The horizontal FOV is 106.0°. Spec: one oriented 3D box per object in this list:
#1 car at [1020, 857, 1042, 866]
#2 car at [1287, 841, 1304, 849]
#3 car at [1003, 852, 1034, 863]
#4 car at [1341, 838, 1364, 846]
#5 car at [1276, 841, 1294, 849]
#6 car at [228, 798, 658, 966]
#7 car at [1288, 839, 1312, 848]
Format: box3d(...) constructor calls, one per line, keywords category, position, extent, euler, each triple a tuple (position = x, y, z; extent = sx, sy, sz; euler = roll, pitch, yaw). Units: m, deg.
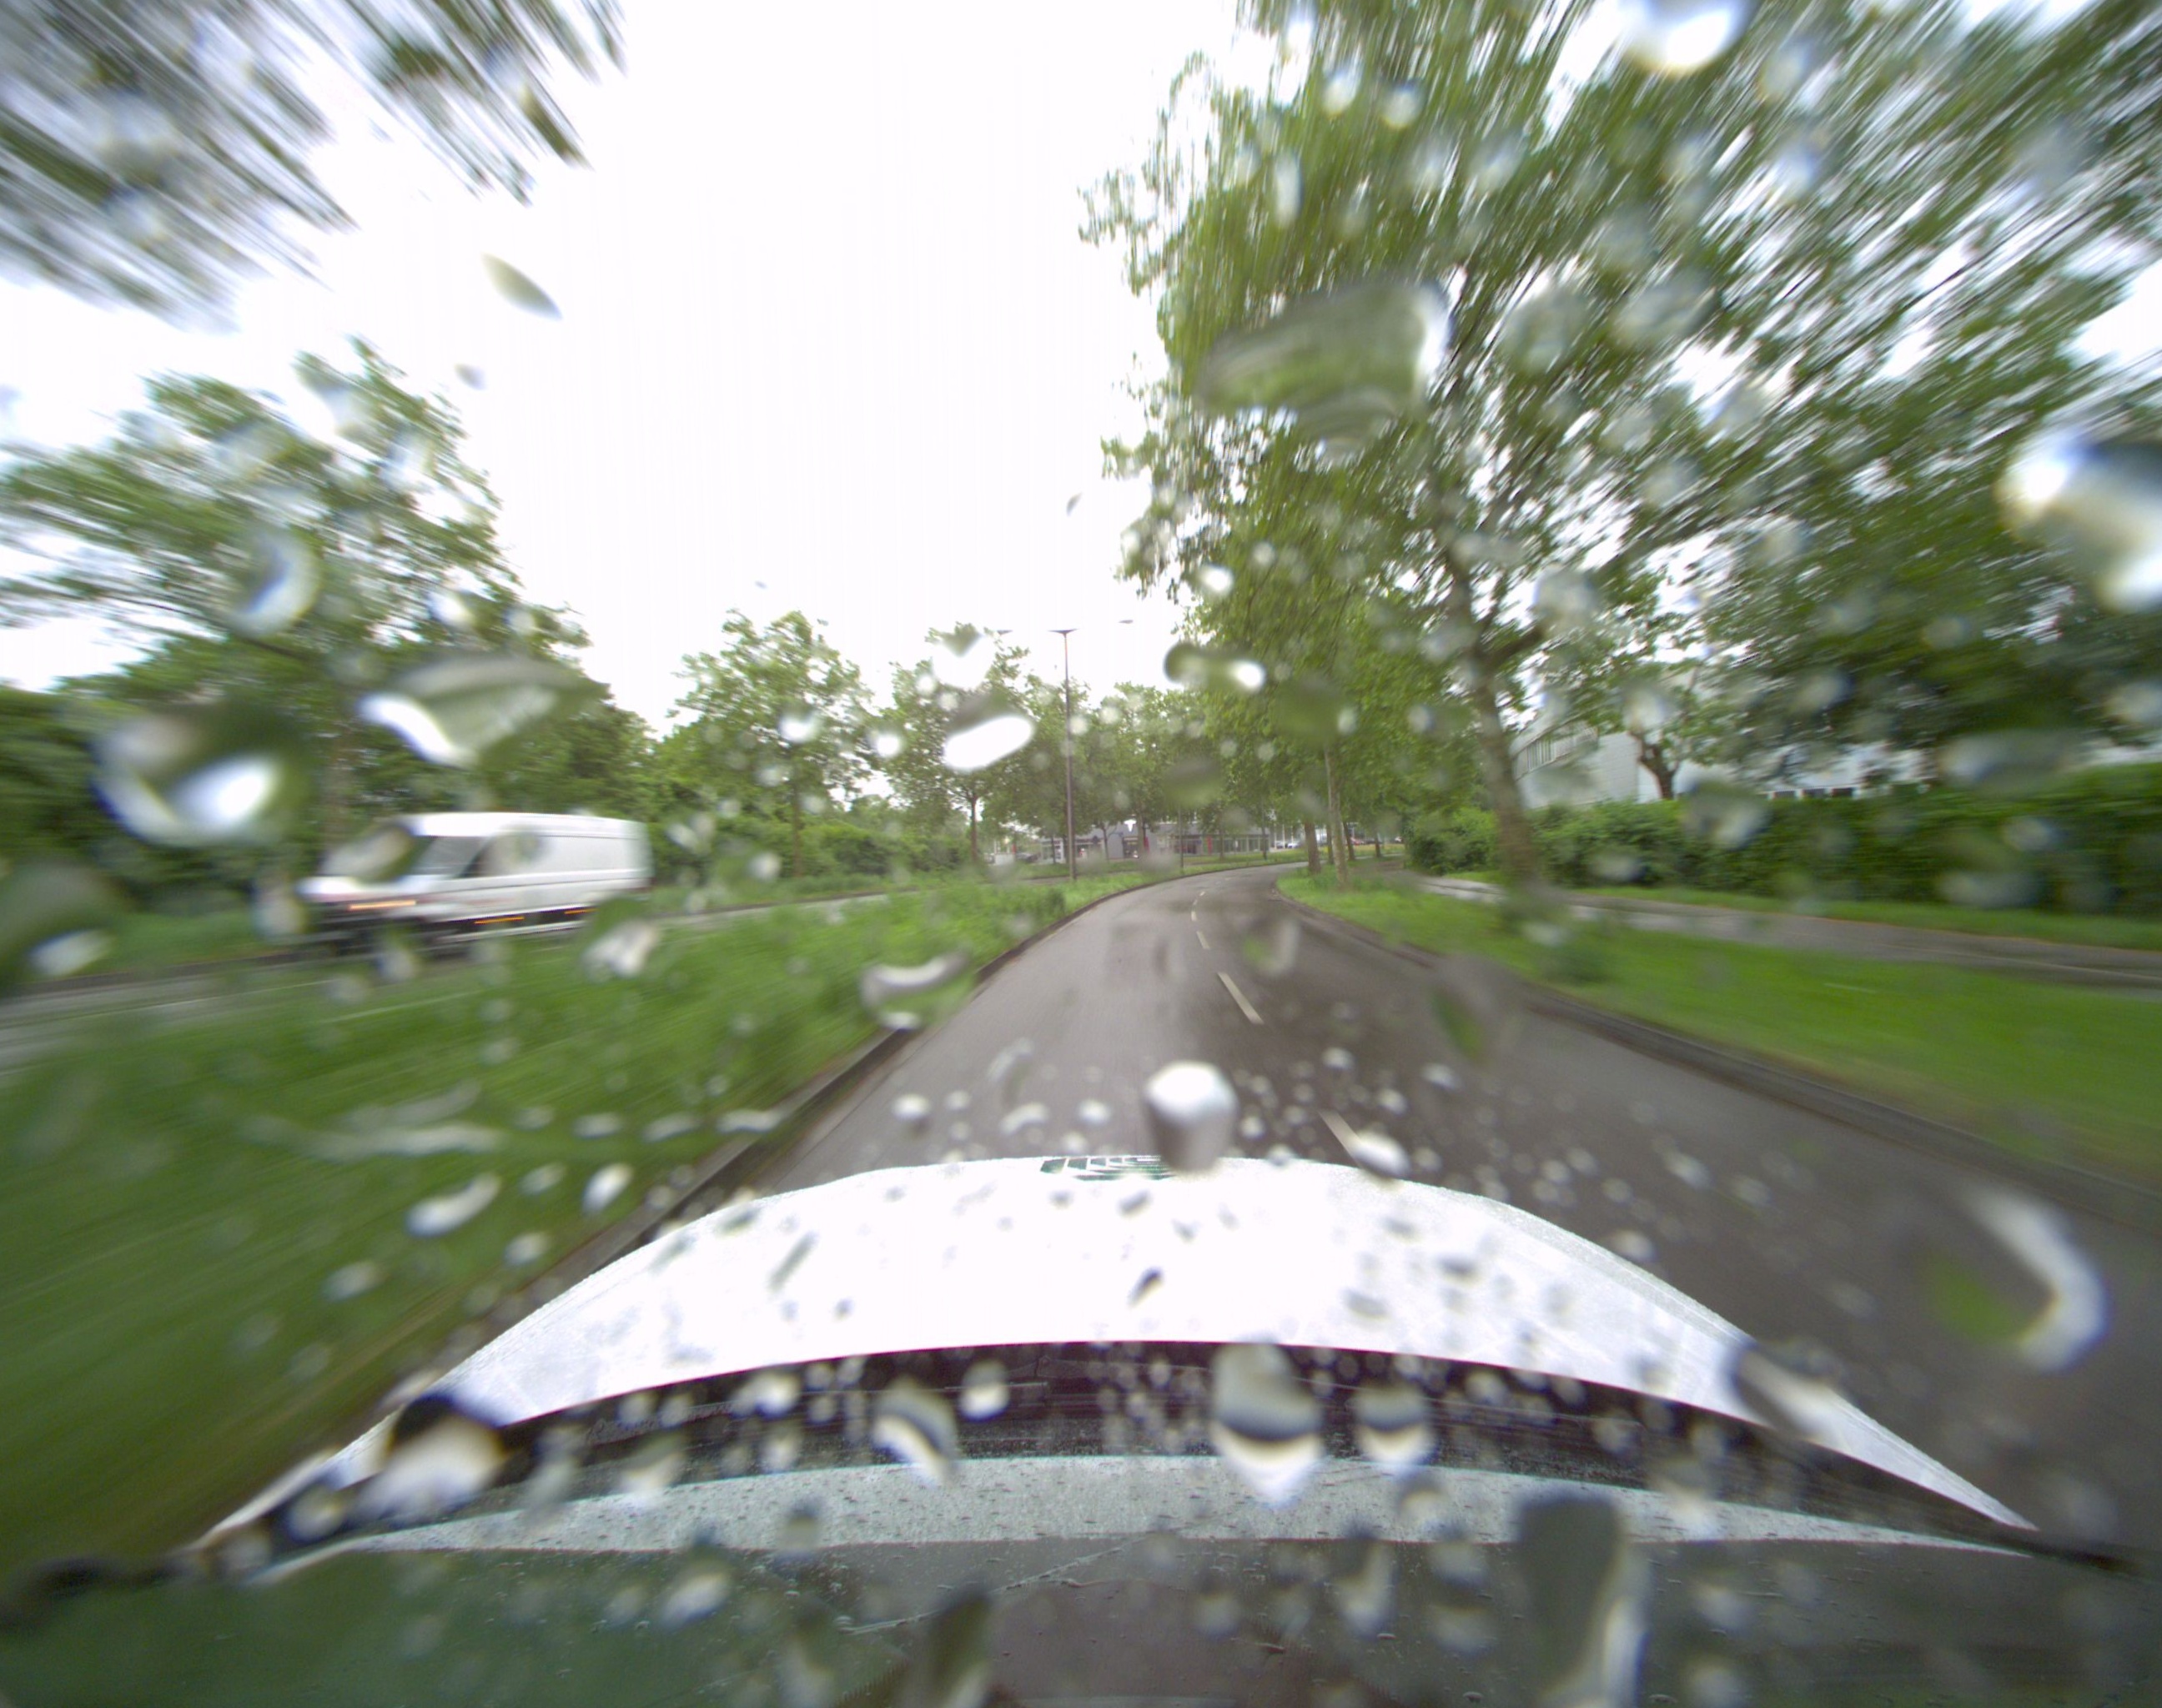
box3d(category="car", position=(-8.196, 1.210, 134.240), extent=(3.284, 1.494, 1.603), euler=(-1, 0, 11))
box3d(category="car", position=(42.982, -1.839, 163.210), extent=(1.746, 1.396, 4.183), euler=(0, 3, 41))
box3d(category="car", position=(-8.951, 0.487, 116.699), extent=(4.164, 1.494, 1.603), euler=(-1, 0, 11))
box3d(category="car", position=(54.919, -2.458, 164.757), extent=(1.858, 1.556, 3.961), euler=(-4, 5, -43))
box3d(category="car", position=(41.235, -1.823, 164.761), extent=(1.746, 1.396, 4.183), euler=(0, 3, 41))
box3d(category="car", position=(-11.140, 0.405, 15.213), extent=(2.264, 2.426, 6.377), euler=(-2, 0, 10))
box3d(category="car", position=(46.318, -2.188, 172.476), extent=(4.629, 1.764, 1.818), euler=(-1, 2, -4))
